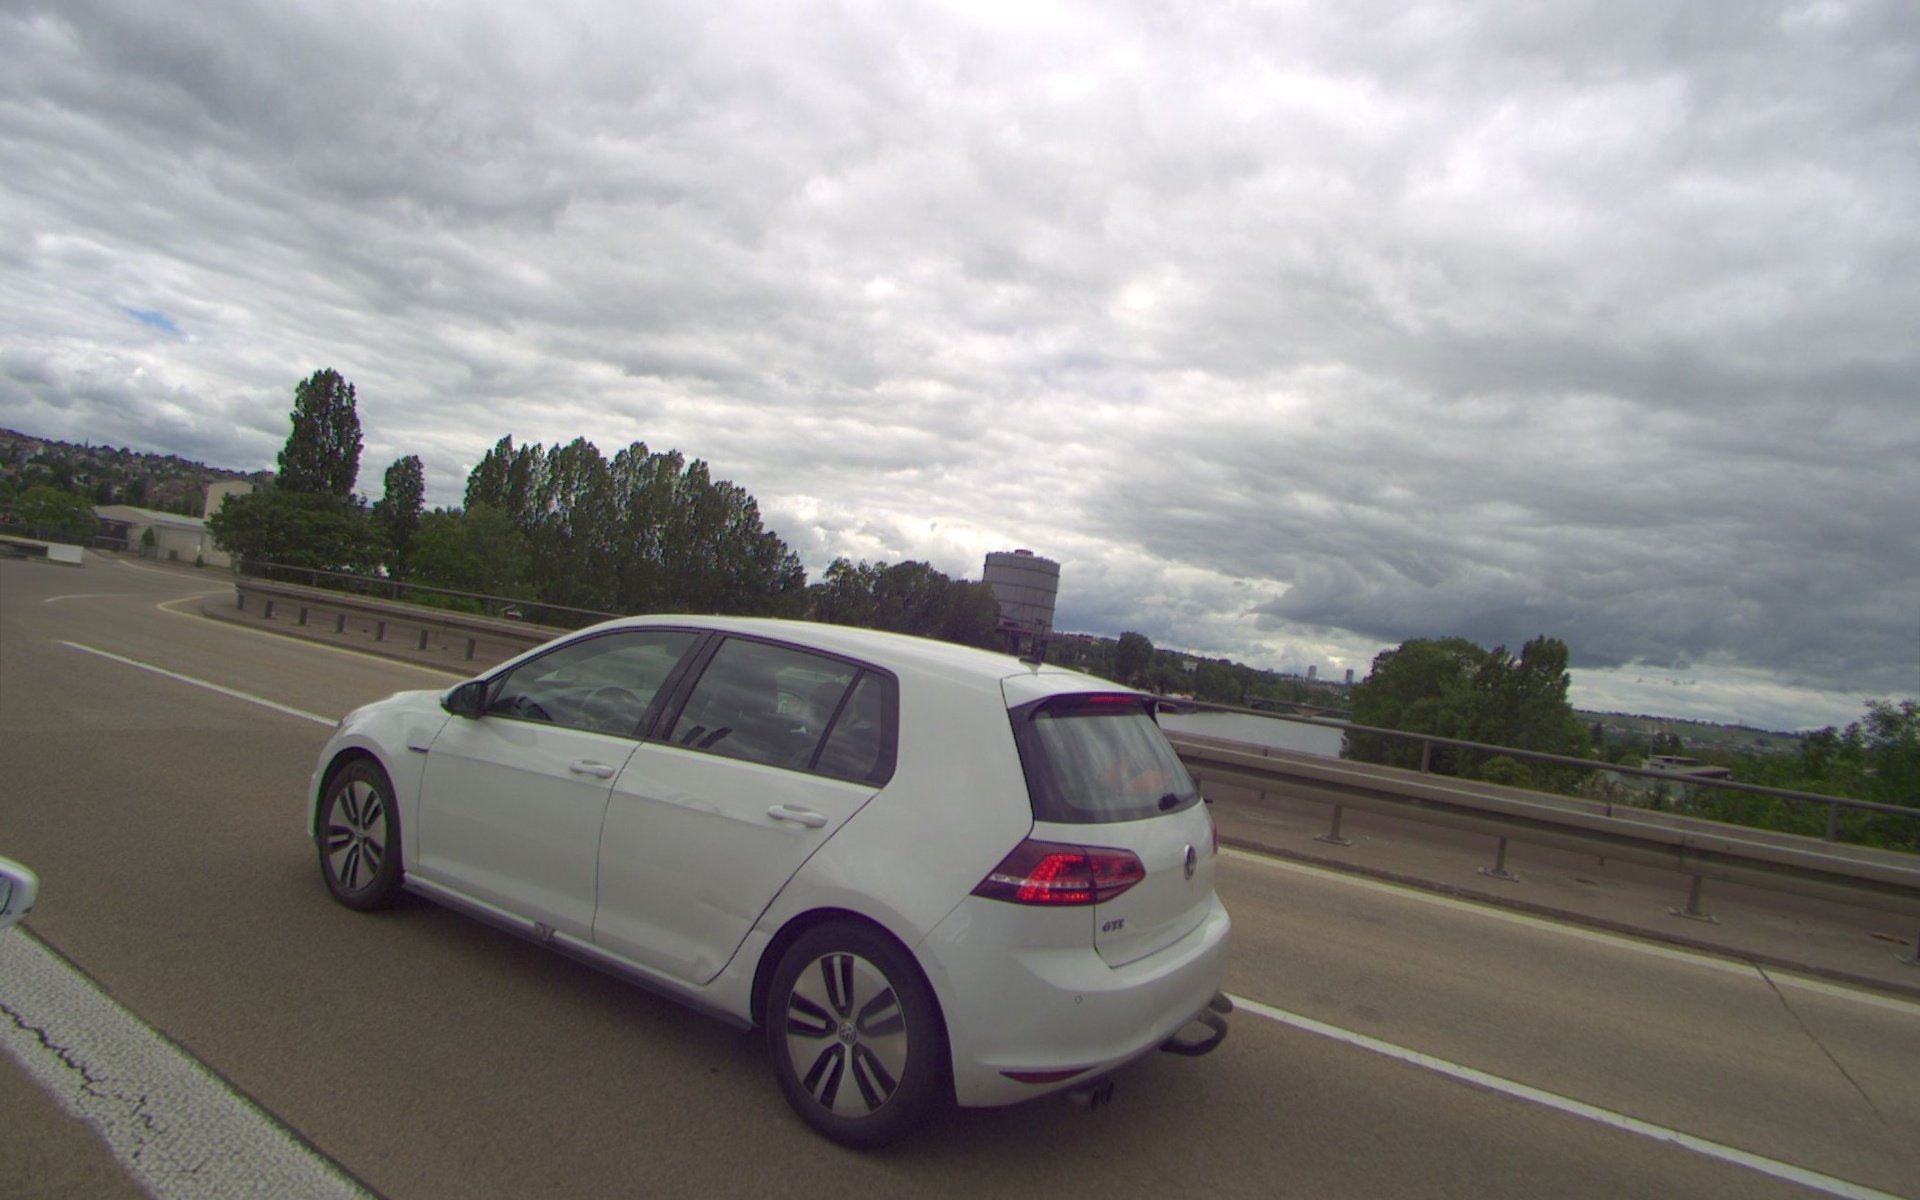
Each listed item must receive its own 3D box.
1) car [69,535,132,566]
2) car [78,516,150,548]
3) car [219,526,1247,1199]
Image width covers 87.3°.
[{"bbox_3d":[-60.347,-3.463,70.737,1.904,1.806,4.094,8,-1,-21],"label":"car"},{"bbox_3d":[-64.585,-5.143,76.875,1.895,1.806,4.114,8,-1,-1],"label":"car"},{"bbox_3d":[-1.096,0.677,4.247,4.003,1.469,1.757,7,0,31],"label":"car"}]
